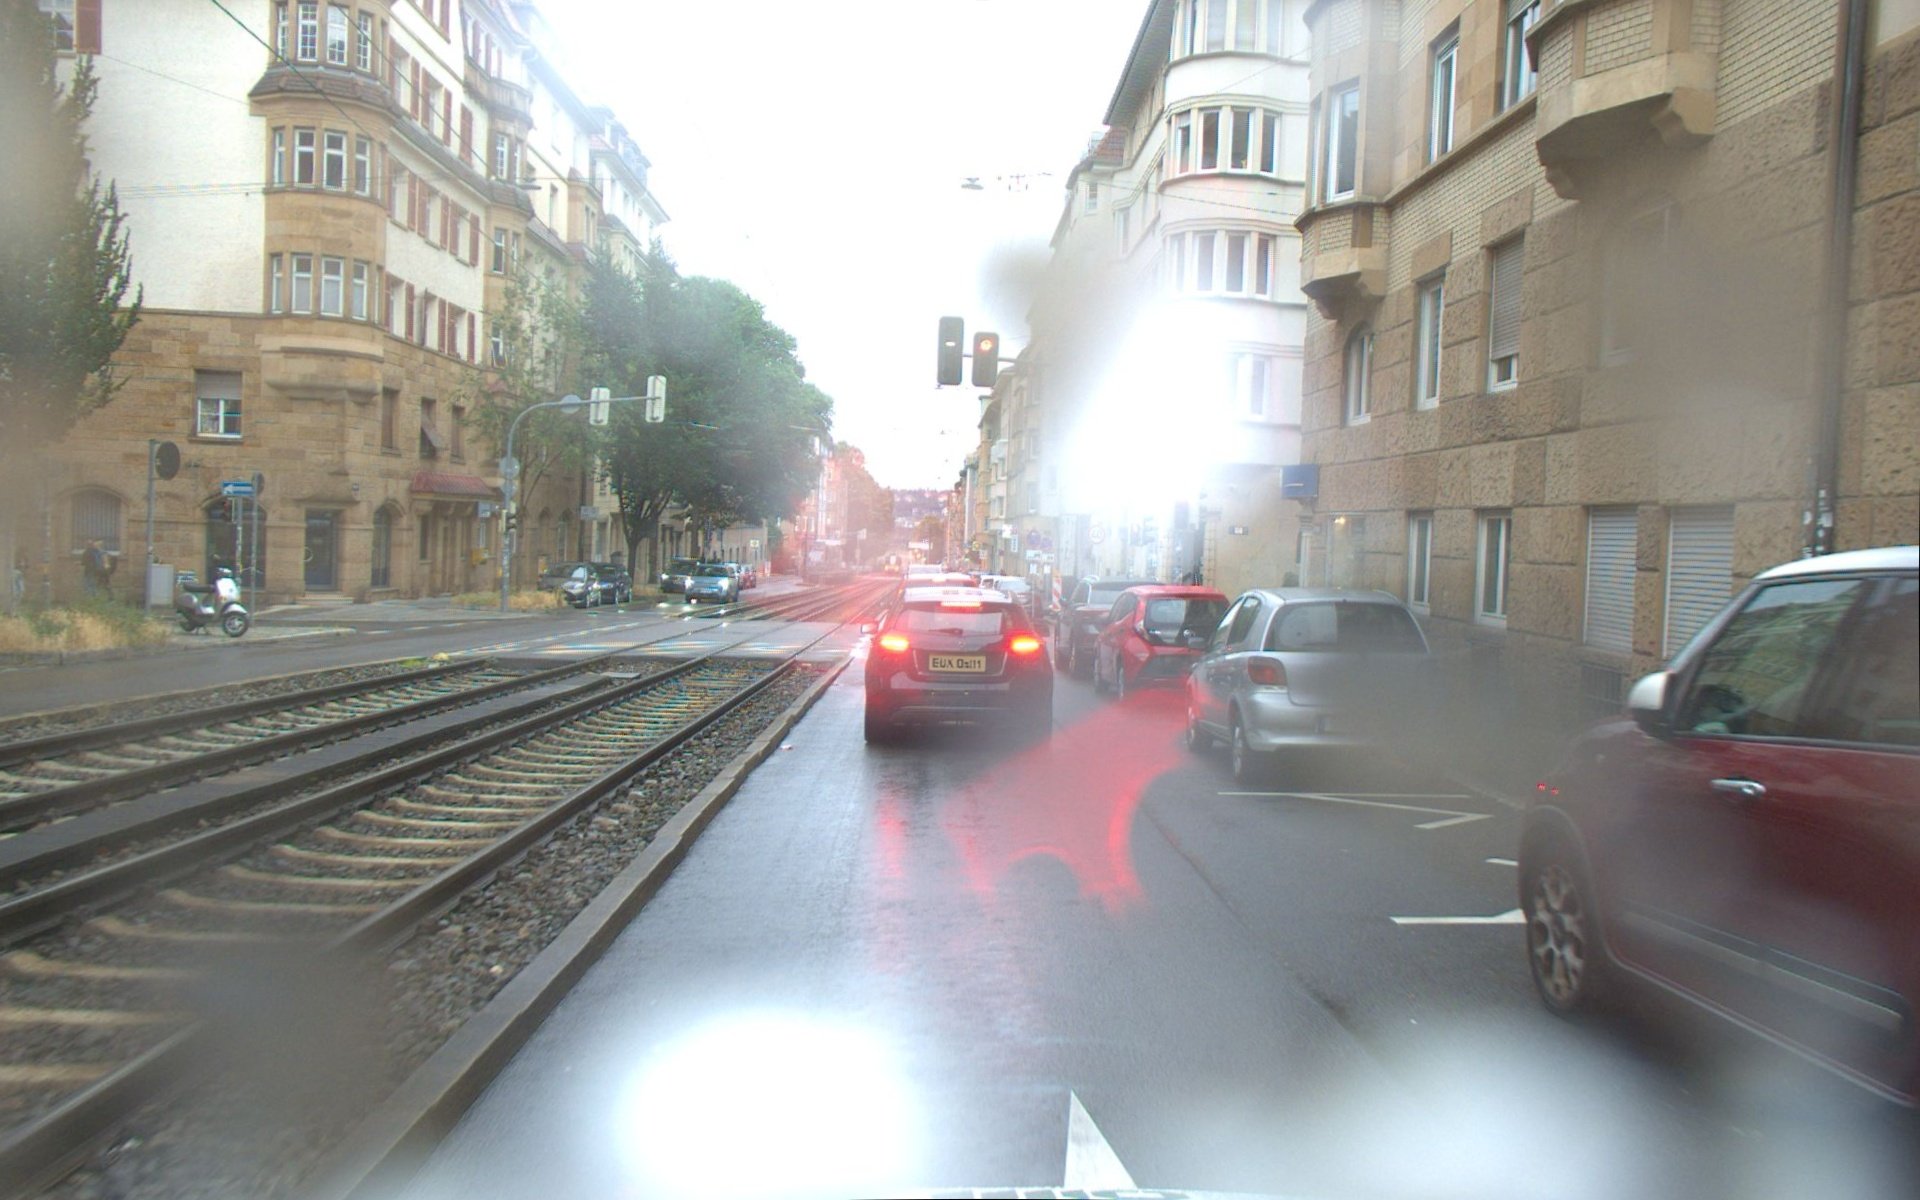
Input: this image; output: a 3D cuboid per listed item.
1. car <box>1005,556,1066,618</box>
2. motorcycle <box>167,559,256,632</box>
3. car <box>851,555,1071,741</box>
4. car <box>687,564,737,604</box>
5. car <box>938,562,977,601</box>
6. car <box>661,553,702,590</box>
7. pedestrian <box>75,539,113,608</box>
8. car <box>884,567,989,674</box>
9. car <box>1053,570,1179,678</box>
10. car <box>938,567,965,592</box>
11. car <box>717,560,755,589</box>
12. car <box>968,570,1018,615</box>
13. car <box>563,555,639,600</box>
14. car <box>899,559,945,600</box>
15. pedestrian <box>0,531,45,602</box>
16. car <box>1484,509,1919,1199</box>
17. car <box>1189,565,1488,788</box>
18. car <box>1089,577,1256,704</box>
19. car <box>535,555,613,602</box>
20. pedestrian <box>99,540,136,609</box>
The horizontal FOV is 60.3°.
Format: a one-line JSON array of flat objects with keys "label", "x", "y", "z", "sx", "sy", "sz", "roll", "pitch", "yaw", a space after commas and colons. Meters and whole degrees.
[{"label": "car", "x": 2.615, "y": -0.430, "z": 57.946, "sx": 1.860, "sy": 2.063, "sz": 4.175, "roll": 1, "pitch": 0, "yaw": -1}, {"label": "motorcycle", "x": -12.646, "y": -0.076, "z": 27.939, "sx": 1.409, "sy": 1.154, "sz": 0.619, "roll": 3, "pitch": 0, "yaw": 29}, {"label": "car", "x": -0.056, "y": 0.425, "z": 16.398, "sx": 1.907, "sy": 1.592, "sz": 3.641, "roll": 1, "pitch": 0, "yaw": -2}, {"label": "car", "x": -10.424, "y": -0.675, "z": 69.702, "sx": 1.760, "sy": 1.575, "sz": 3.996, "roll": 2, "pitch": 1, "yaw": -5}, {"label": "car", "x": -0.132, "y": -0.882, "z": 81.652, "sx": 1.815, "sy": 1.829, "sz": 3.811, "roll": 1, "pitch": 0, "yaw": -1}, {"label": "car", "x": -13.821, "y": -1.393, "z": 82.329, "sx": 1.755, "sy": 1.721, "sz": 3.994, "roll": 2, "pitch": 1, "yaw": -7}, {"label": "pedestrian", "x": -22.538, "y": -0.683, "z": 43.059, "sx": 0.595, "sy": 1.763, "sz": 0.642, "roll": 2, "pitch": 0, "yaw": 0}, {"label": "car", "x": -0.381, "y": 0.277, "z": 26.828, "sx": 1.504, "sy": 1.536, "sz": 4.000, "roll": 3, "pitch": 1, "yaw": -1}, {"label": "car", "x": 2.433, "y": 0.330, "z": 26.610, "sx": 1.518, "sy": 1.534, "sz": 4.000, "roll": 3, "pitch": 1, "yaw": -1}, {"label": "car", "x": -0.629, "y": -1.500, "z": 120.964, "sx": 1.870, "sy": 1.735, "sz": 4.000, "roll": 2, "pitch": 1, "yaw": -1}, {"label": "car", "x": -14.542, "y": -1.672, "z": 107.742, "sx": 1.893, "sy": 1.758, "sz": 4.185, "roll": 3, "pitch": 1, "yaw": -1}, {"label": "car", "x": 1.381, "y": -0.302, "z": 70.598, "sx": 1.734, "sy": 1.807, "sz": 3.996, "roll": 1, "pitch": 0, "yaw": -5}, {"label": "car", "x": -13.314, "y": -0.838, "z": 61.507, "sx": 1.953, "sy": 1.544, "sz": 3.999, "roll": 2, "pitch": 1, "yaw": -1}, {"label": "car", "x": -1.653, "y": -0.911, "z": 73.332, "sx": 1.882, "sy": 1.684, "sz": 4.000, "roll": 2, "pitch": 1, "yaw": 0}, {"label": "pedestrian", "x": -23.868, "y": -0.860, "z": 42.112, "sx": 0.595, "sy": 1.763, "sz": 0.865, "roll": 2, "pitch": 0, "yaw": 0}, {"label": "car", "x": 3.042, "y": 0.642, "z": 4.539, "sx": 1.677, "sy": 1.656, "sz": 3.998, "roll": 3, "pitch": 1, "yaw": -3}, {"label": "car", "x": 3.020, "y": 0.541, "z": 13.877, "sx": 1.604, "sy": 1.569, "sz": 3.465, "roll": 3, "pitch": 1, "yaw": -1}, {"label": "car", "x": 2.654, "y": 0.458, "z": 21.266, "sx": 1.570, "sy": 1.443, "sz": 3.147, "roll": 2, "pitch": 1, "yaw": -3}, {"label": "car", "x": -13.058, "y": -0.717, "z": 56.190, "sx": 1.735, "sy": 1.489, "sz": 3.999, "roll": 1, "pitch": 0, "yaw": -1}, {"label": "pedestrian", "x": -22.265, "y": -0.672, "z": 43.718, "sx": 0.595, "sy": 1.763, "sz": 0.642, "roll": 2, "pitch": 0, "yaw": 0}]
